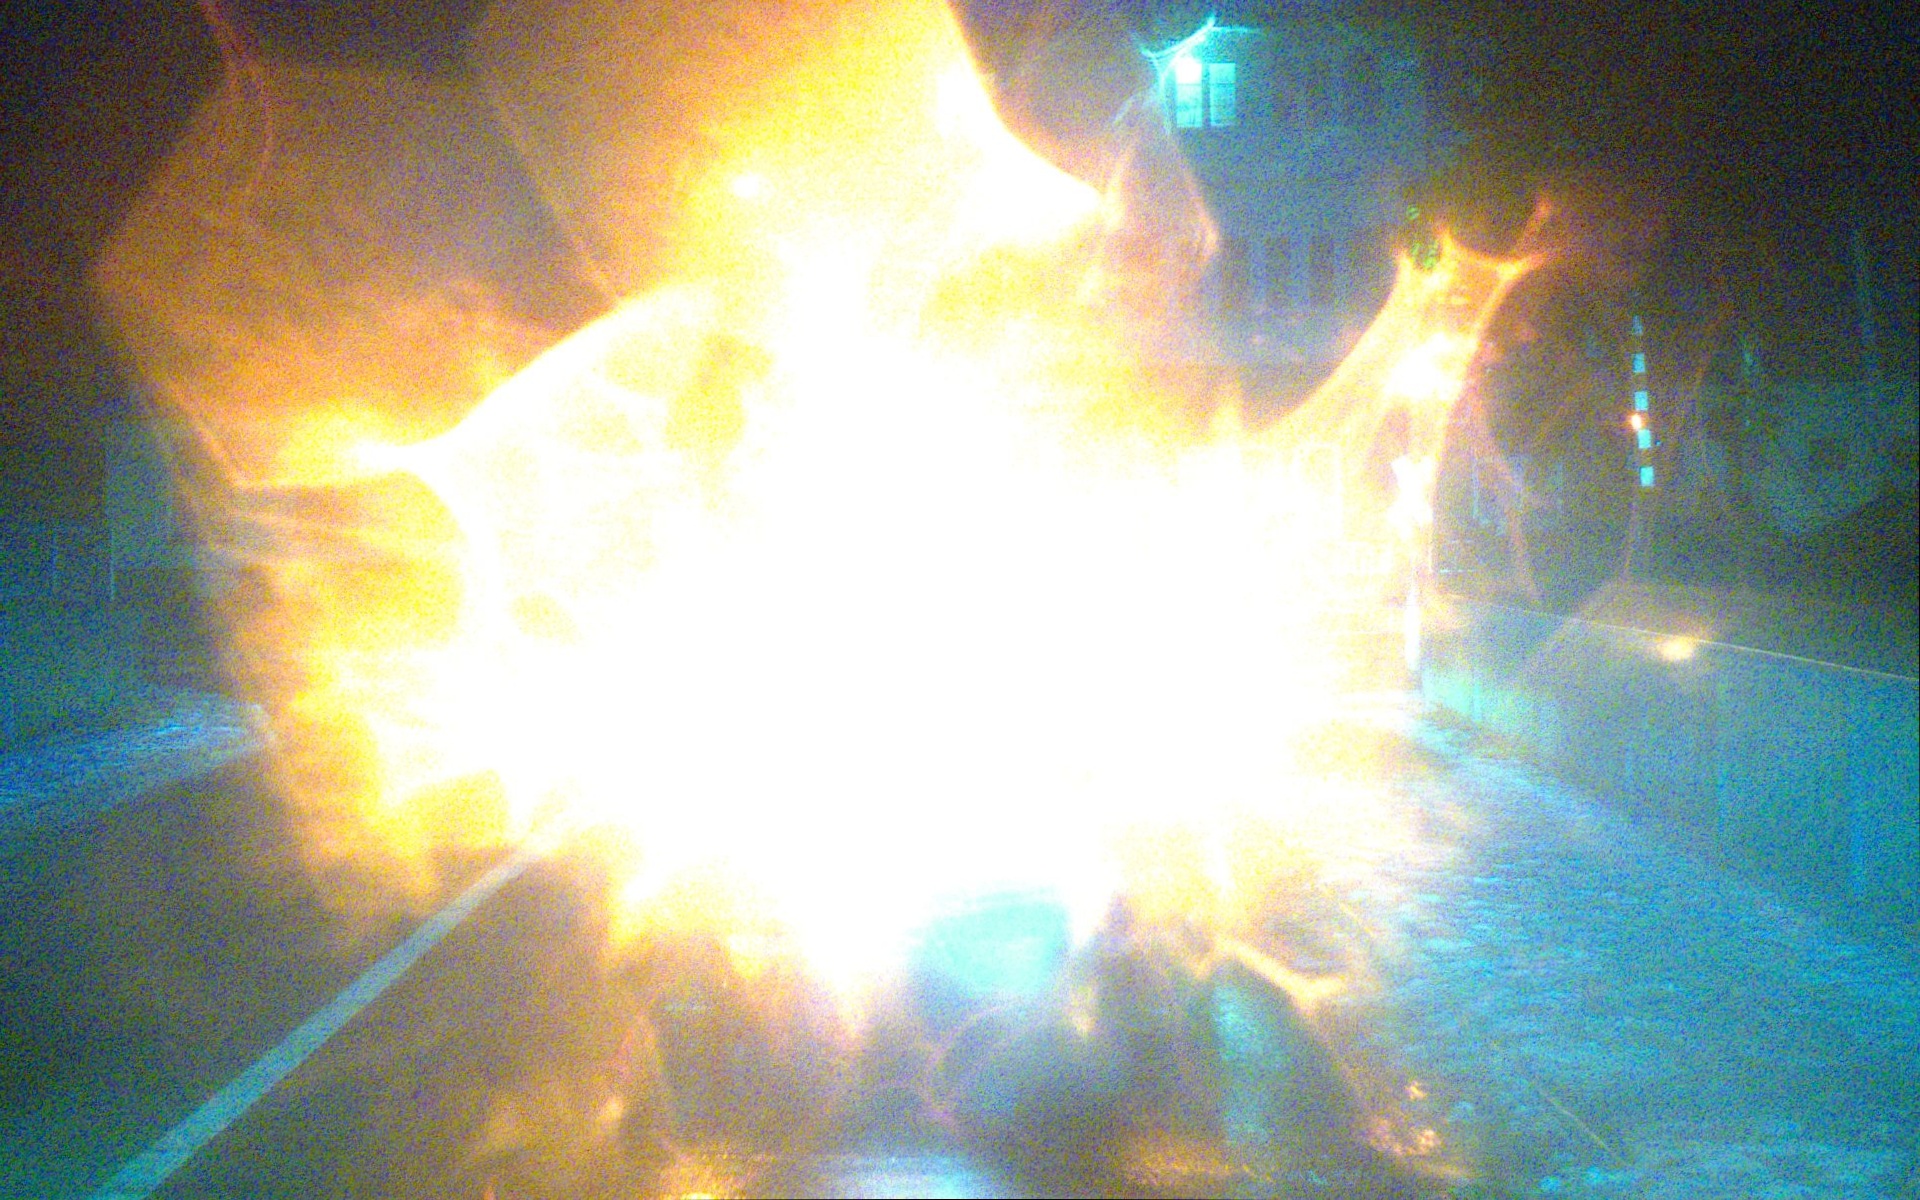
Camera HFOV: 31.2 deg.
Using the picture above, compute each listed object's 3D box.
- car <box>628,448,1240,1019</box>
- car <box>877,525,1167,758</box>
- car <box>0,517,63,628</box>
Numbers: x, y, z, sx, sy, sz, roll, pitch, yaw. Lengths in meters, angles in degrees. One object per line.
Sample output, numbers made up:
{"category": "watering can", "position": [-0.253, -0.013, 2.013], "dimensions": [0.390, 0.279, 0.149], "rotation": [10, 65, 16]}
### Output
{"category": "car", "position": [-0.026, 0.343, 12.079], "dimensions": [1.791, 1.675, 3.904], "rotation": [0, 2, 2]}
{"category": "car", "position": [0.498, 0.213, 23.022], "dimensions": [1.744, 1.410, 4.000], "rotation": [-1, 1, 4]}
{"category": "car", "position": [-17.337, -0.501, 57.134], "dimensions": [4.201, 1.793, 1.999], "rotation": [2, 0, 8]}
